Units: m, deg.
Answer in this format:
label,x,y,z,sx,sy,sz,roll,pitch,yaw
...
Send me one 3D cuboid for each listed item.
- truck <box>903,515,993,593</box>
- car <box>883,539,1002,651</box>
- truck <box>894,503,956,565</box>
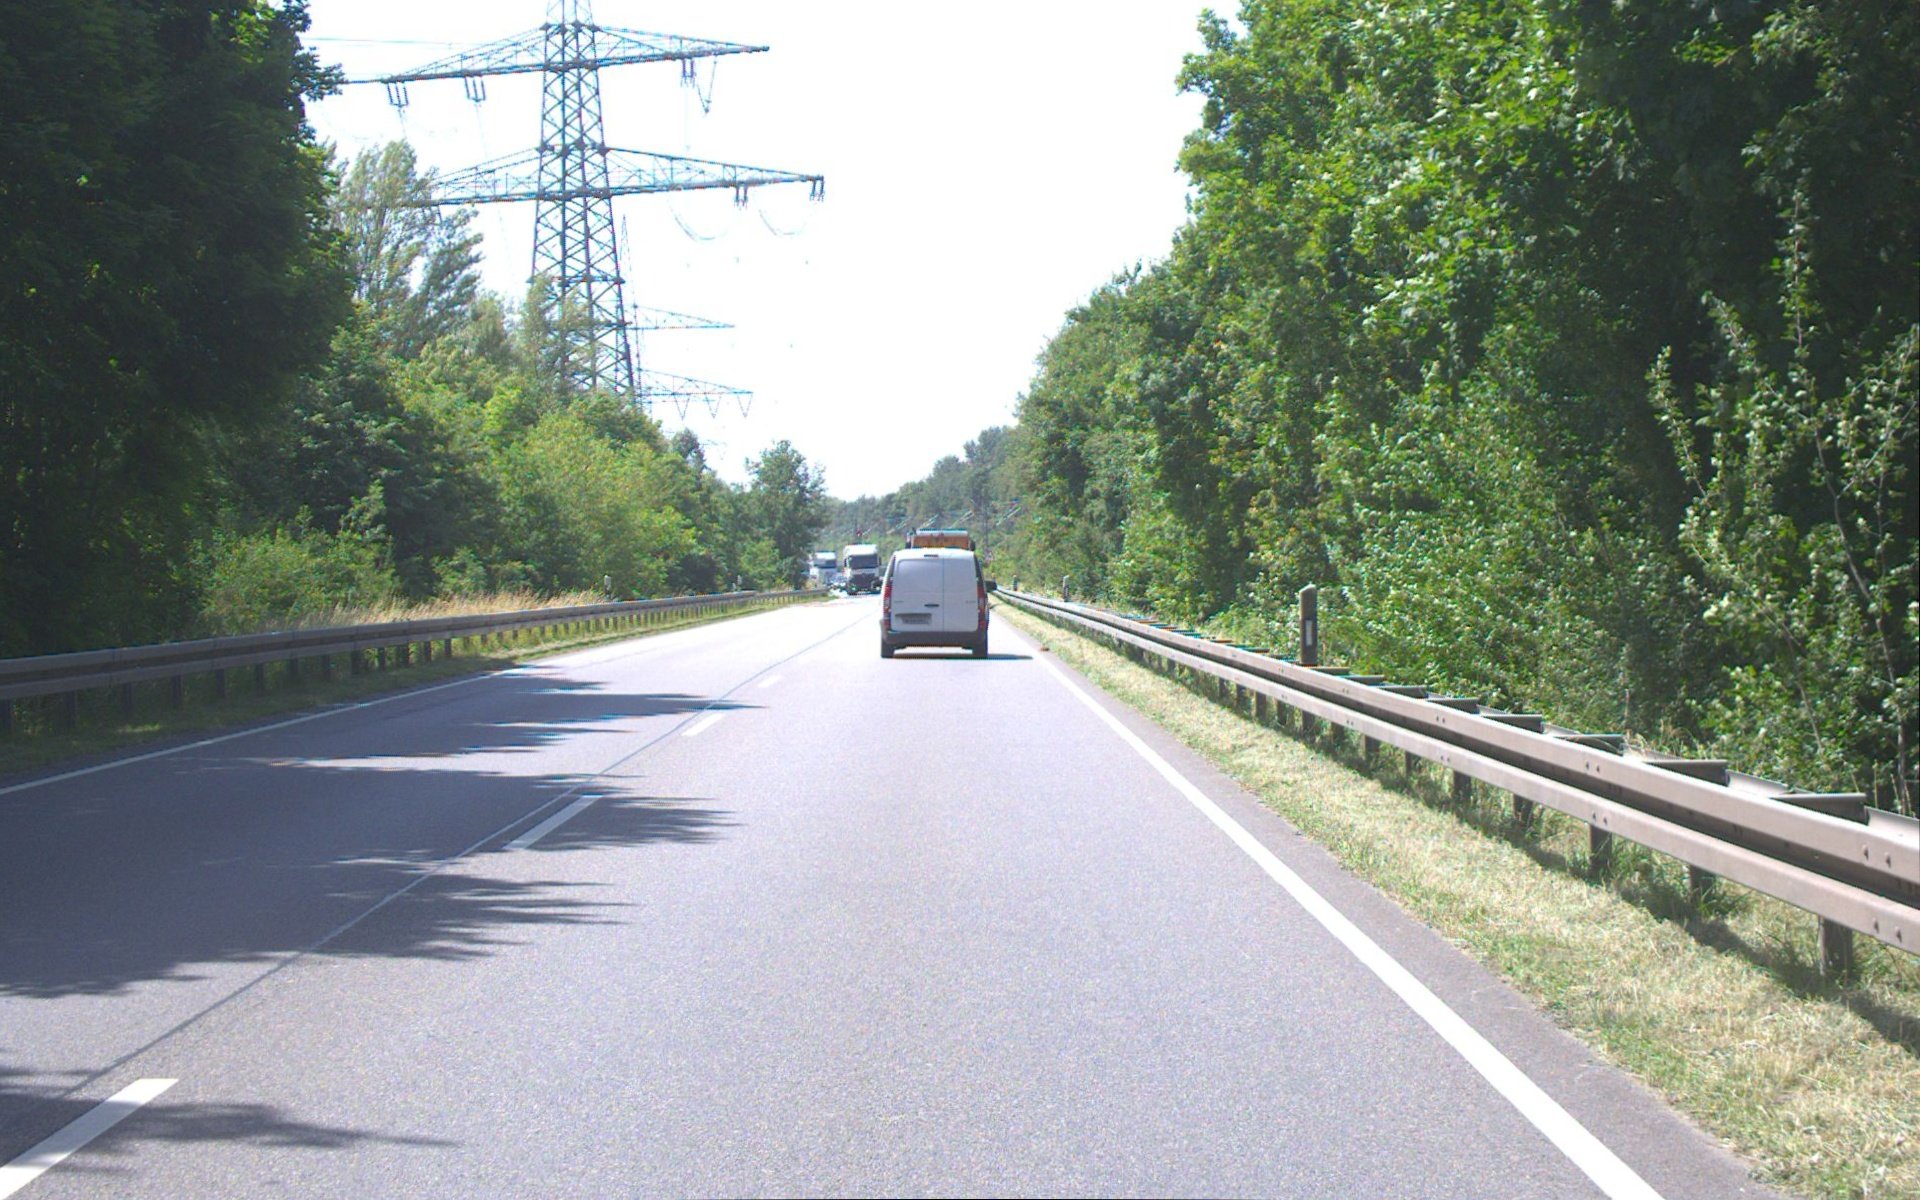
label,x,y,z,sx,sy,sz,roll,pitch,yaw
truck,-0.612,-2.081,149.430,3.296,3.161,14.406,1,1,-3
car,-0.298,-0.113,56.982,1.875,1.735,4.000,1,1,-1
truck,-2.346,-4.346,223.503,3.402,3.841,16.820,1,1,-3
